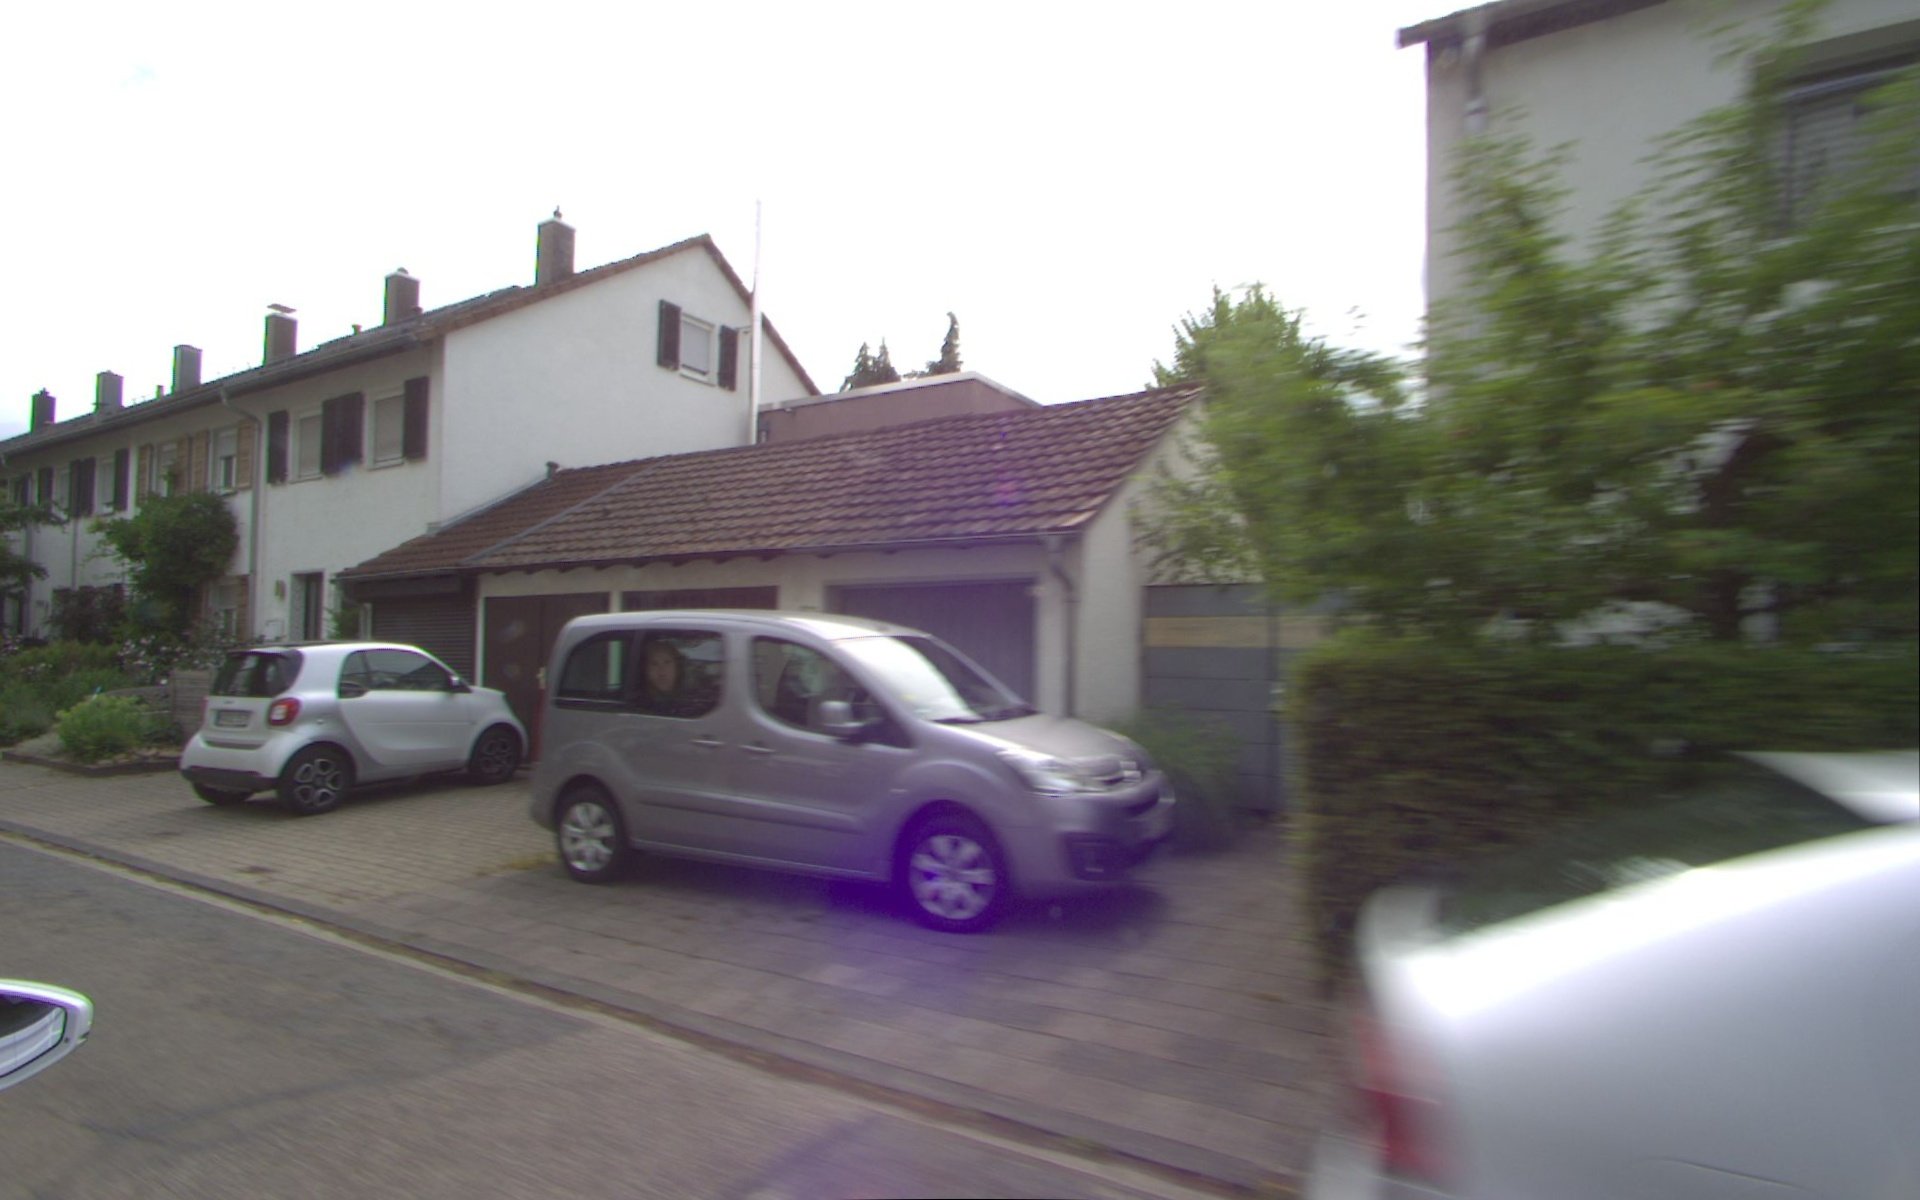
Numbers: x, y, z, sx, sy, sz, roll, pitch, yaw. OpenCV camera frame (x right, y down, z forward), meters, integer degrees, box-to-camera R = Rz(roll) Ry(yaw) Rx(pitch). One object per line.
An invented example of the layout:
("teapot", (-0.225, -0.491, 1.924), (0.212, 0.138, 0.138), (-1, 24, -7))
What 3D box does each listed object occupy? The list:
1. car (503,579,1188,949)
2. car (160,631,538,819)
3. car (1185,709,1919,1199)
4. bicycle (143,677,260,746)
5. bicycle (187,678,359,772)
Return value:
("car", (-0.835, 0.862, 6.687), (4.274, 1.800, 1.824), (-1, -1, 28))
("car", (-6.059, 1.111, 10.180), (1.714, 1.589, 2.814), (-1, -1, 29))
("car", (2.551, 0.885, 0.866), (4.269, 1.386, 1.824), (-1, -6, 32))
("bicycle", (-11.569, 1.681, 15.305), (0.425, 0.908, 1.373), (0, 0, 26))
("bicycle", (-8.346, 1.487, 12.239), (0.606, 1.002, 1.623), (0, -2, 31))
